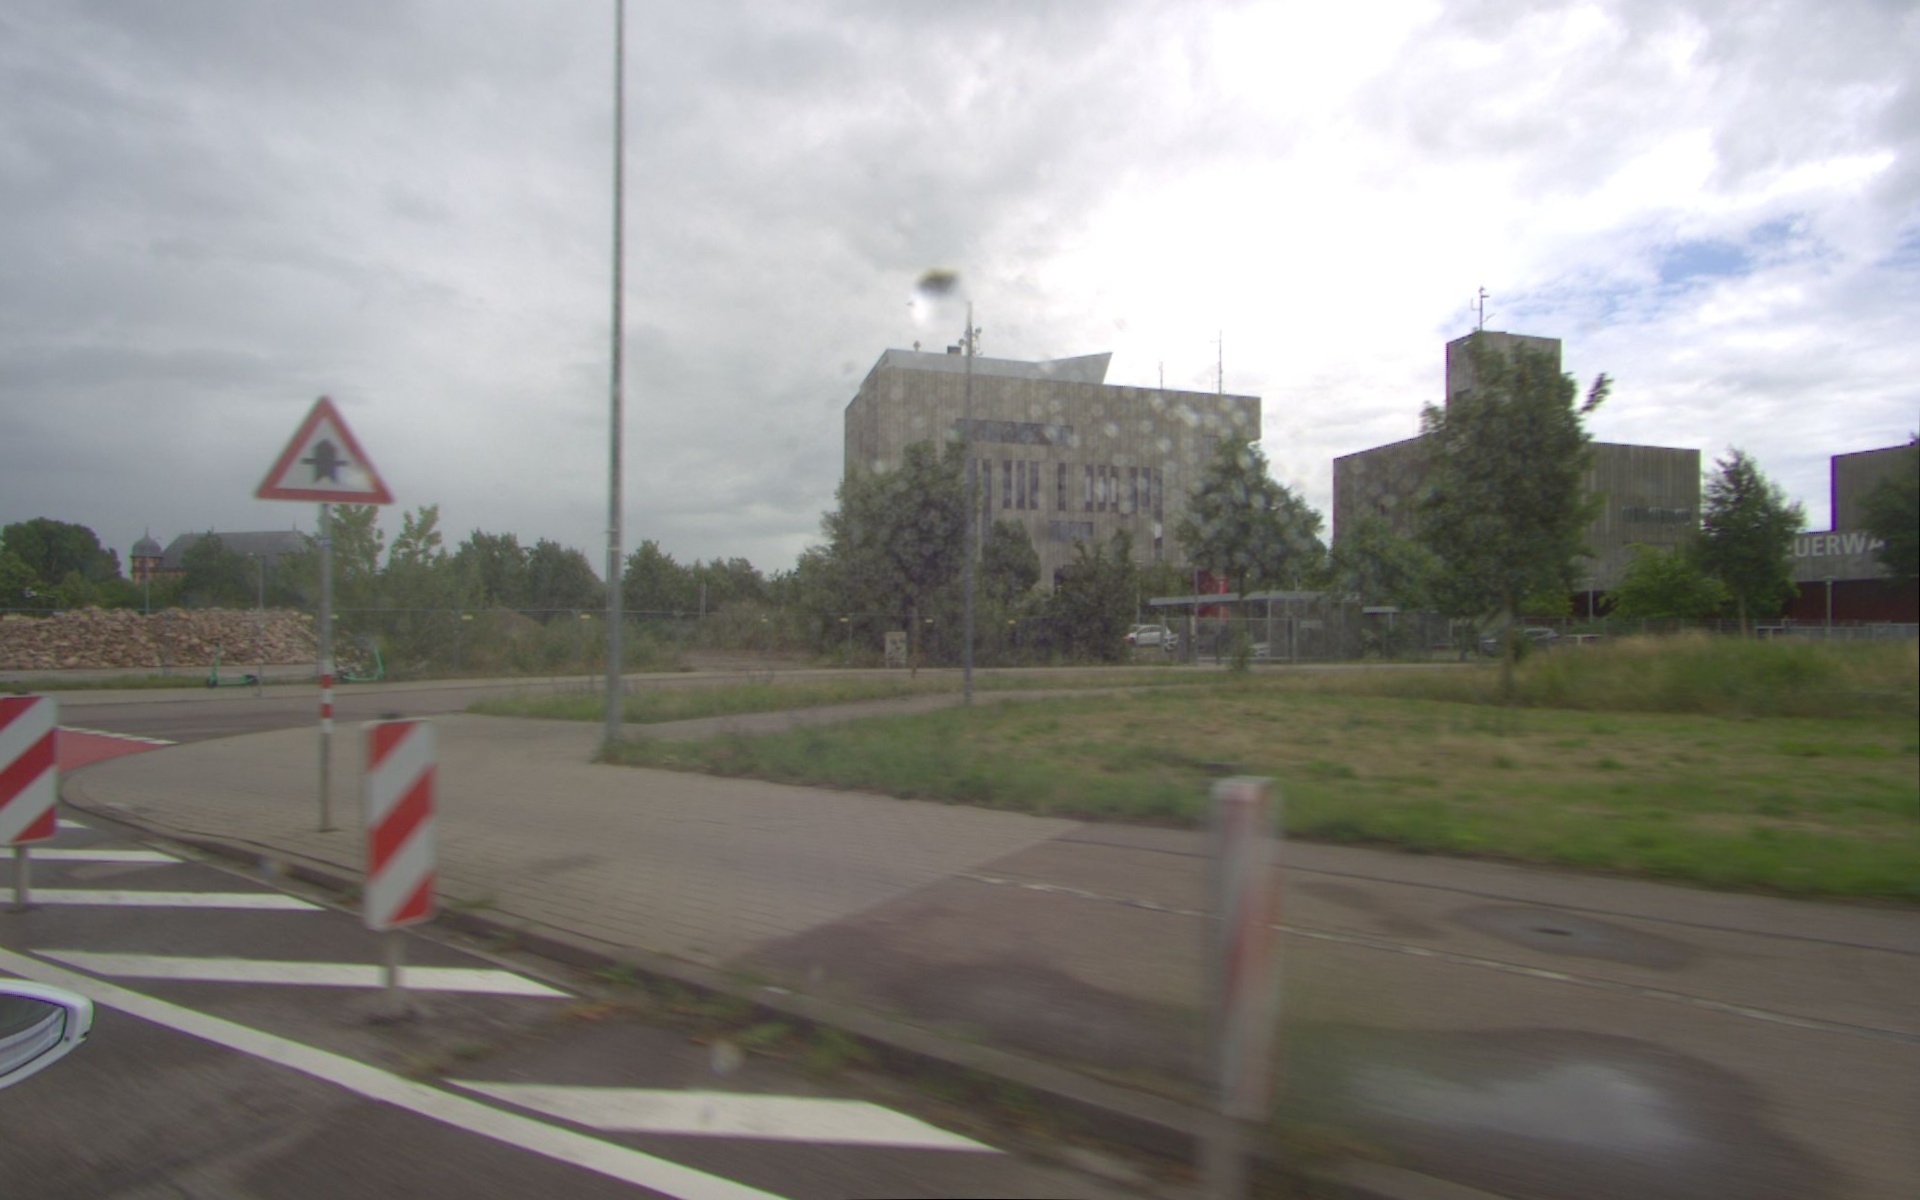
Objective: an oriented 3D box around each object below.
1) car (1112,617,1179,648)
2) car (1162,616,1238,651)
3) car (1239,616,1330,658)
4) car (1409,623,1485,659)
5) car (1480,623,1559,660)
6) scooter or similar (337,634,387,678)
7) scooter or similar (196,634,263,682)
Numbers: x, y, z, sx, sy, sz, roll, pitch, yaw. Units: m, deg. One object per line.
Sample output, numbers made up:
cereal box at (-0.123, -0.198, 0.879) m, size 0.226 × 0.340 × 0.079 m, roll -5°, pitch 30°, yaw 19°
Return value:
car at (12.477, 2.151, 67.472) m, size 3.994 × 2.040 × 1.997 m, roll 0°, pitch -1°, yaw -16°
car at (14.368, 1.982, 59.982) m, size 3.929 × 2.040 × 1.997 m, roll 0°, pitch -1°, yaw -16°
car at (16.278, 1.849, 50.272) m, size 3.929 × 2.040 × 1.997 m, roll 1°, pitch -1°, yaw -17°
car at (28.793, 2.401, 59.216) m, size 3.935 × 2.040 × 1.994 m, roll 1°, pitch -1°, yaw -23°
car at (32.129, 2.365, 57.535) m, size 3.935 × 2.040 × 1.994 m, roll 1°, pitch -1°, yaw -23°
scooter or similar at (-16.519, 1.531, 27.662) m, size 1.158 × 1.201 × 0.443 m, roll 1°, pitch -1°, yaw -34°
scooter or similar at (-18.850, 1.495, 25.858) m, size 1.303 × 1.201 × 0.445 m, roll 1°, pitch -1°, yaw -18°
